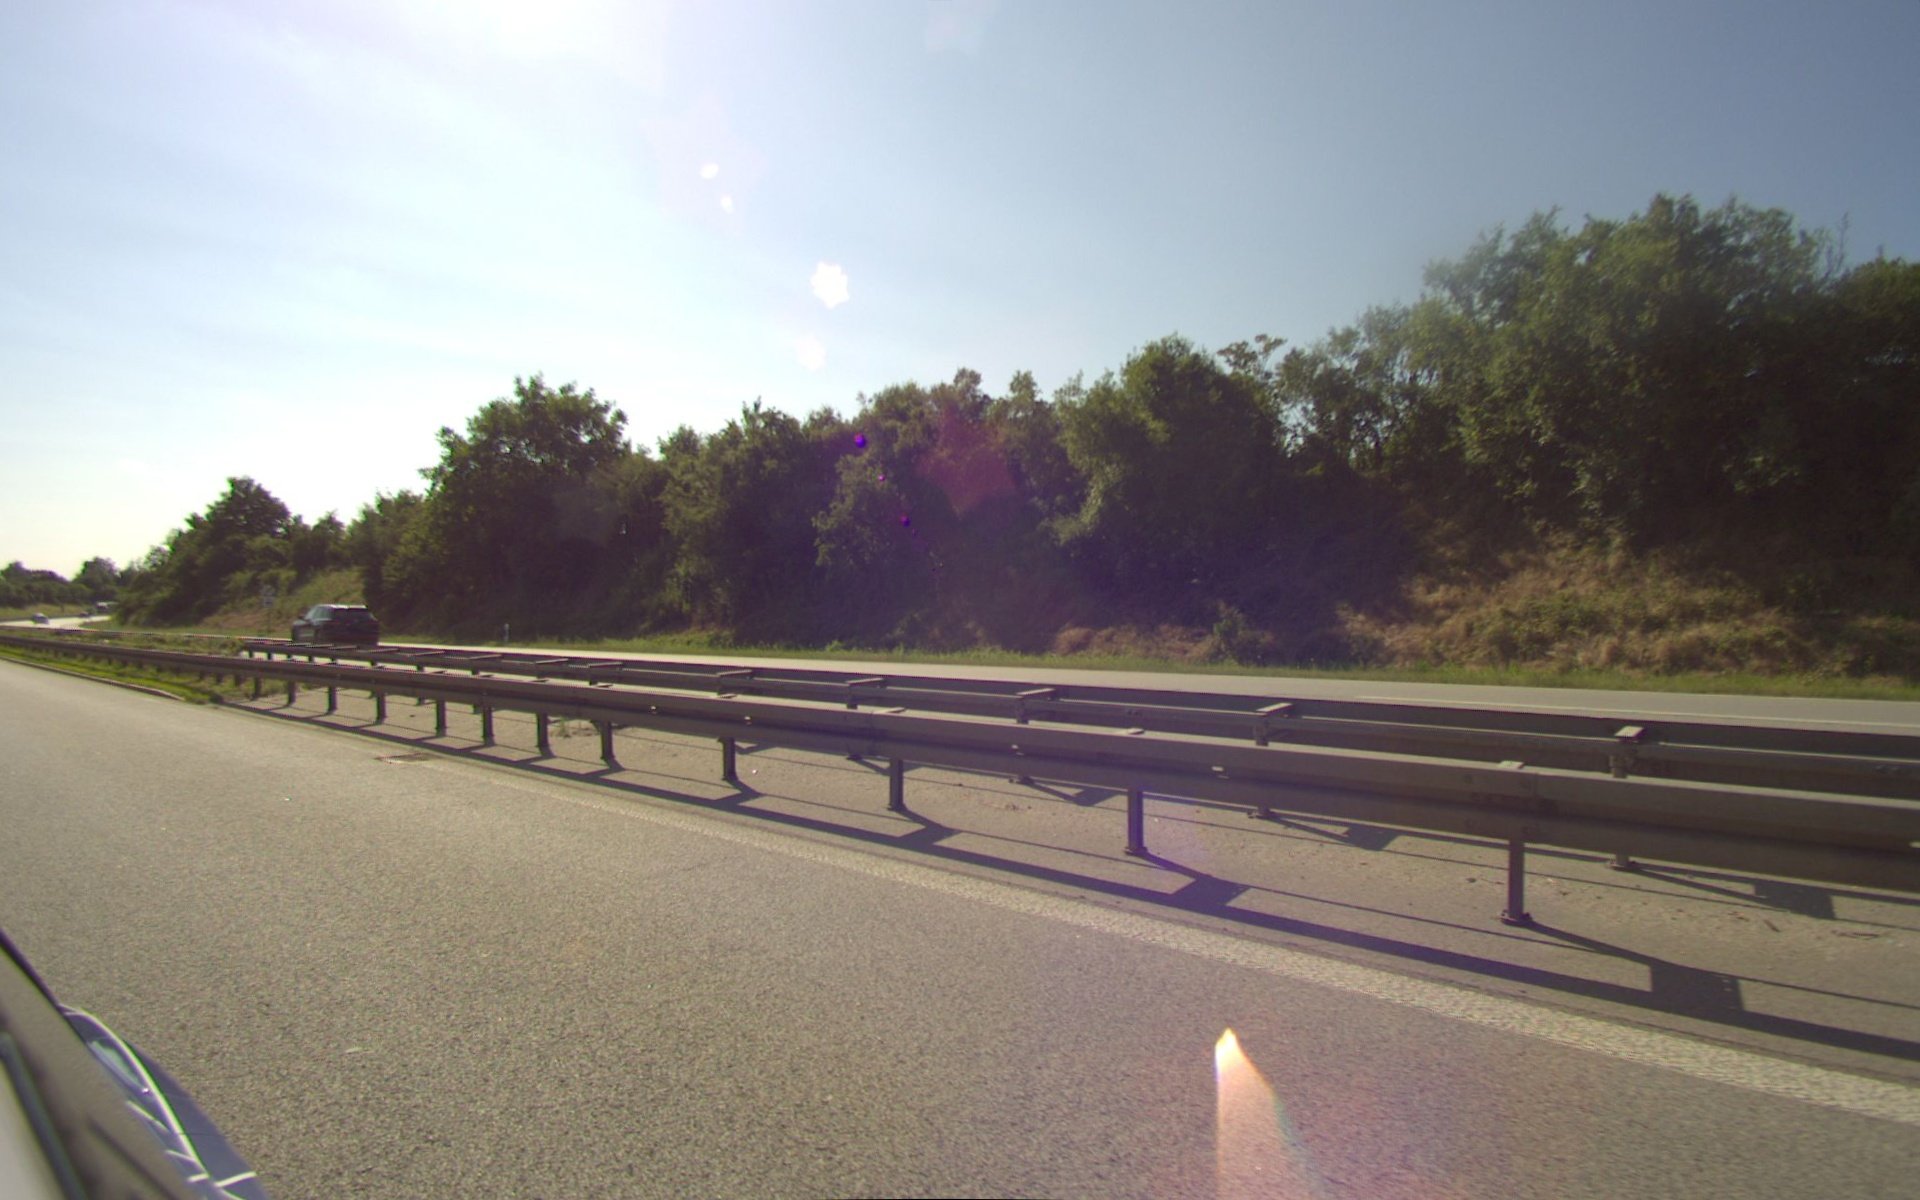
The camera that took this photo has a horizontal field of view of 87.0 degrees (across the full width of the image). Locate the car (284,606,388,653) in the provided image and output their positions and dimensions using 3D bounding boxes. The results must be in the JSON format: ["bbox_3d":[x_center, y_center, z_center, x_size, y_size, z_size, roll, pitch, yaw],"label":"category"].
[{"bbox_3d":[-23.712,1.078,38.367,5.082,1.657,1.972,0,-1,42],"label":"car"}]

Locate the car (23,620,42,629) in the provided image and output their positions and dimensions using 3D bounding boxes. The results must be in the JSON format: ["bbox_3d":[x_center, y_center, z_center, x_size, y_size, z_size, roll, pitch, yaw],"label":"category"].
[{"bbox_3d":[-144.541,3.821,157.659,4.412,1.450,1.819,-1,-2,43],"label":"car"}]
